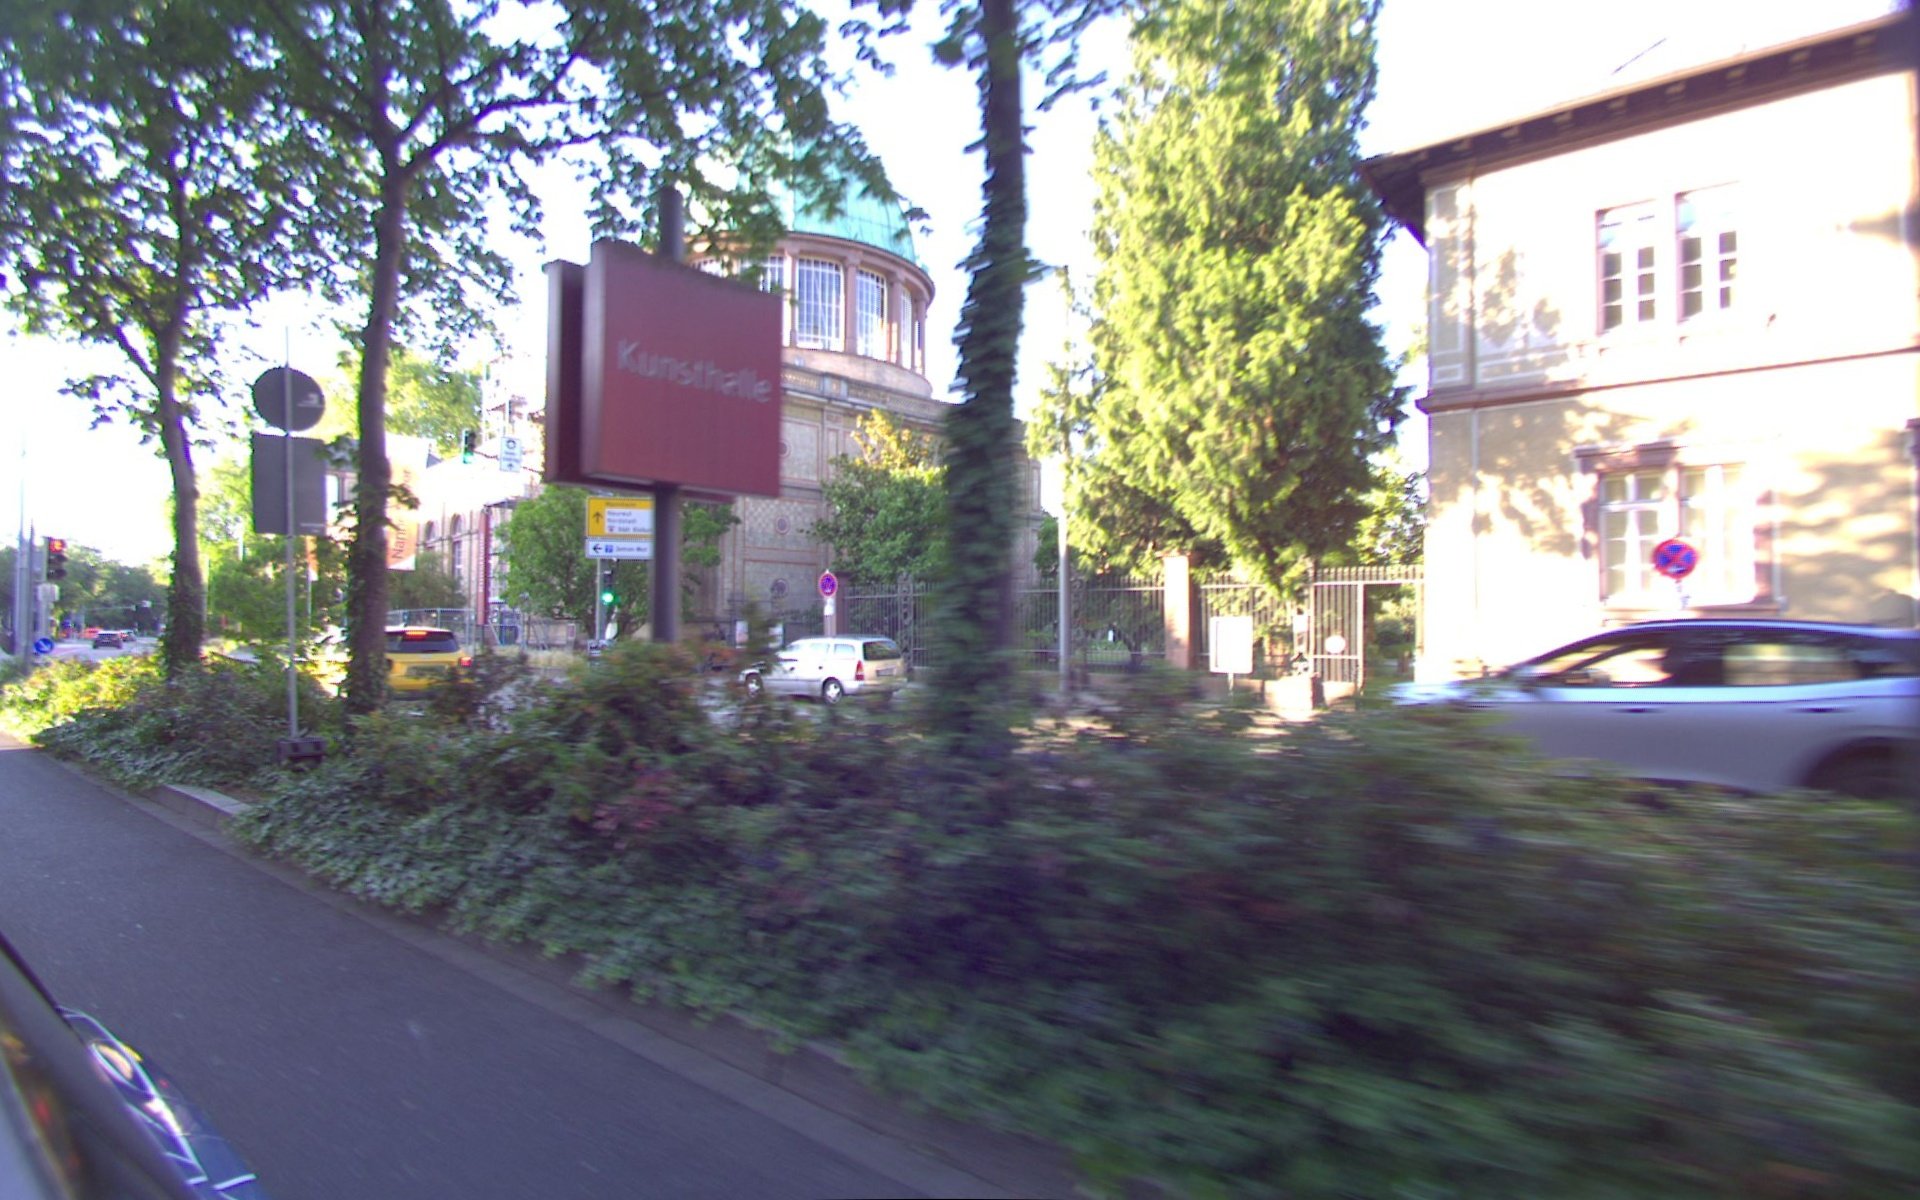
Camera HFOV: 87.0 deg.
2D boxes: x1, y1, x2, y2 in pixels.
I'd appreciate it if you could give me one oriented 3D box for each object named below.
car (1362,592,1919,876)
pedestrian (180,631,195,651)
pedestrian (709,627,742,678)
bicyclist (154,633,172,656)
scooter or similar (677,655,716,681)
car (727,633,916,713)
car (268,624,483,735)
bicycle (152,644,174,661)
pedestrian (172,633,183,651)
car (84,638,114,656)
[{"bbox_3d":[5.591,0.870,7.443,4.558,1.687,1.821,-2,-4,45],"label":"car"},{"bbox_3d":[-67.117,3.560,87.930,0.795,1.751,0.852,0,-2,-17],"label":"pedestrian"},{"bbox_3d":[-7.394,1.638,31.923,0.762,1.591,0.727,-2,-3,42],"label":"pedestrian"},{"bbox_3d":[-52.089,2.928,66.141,0.937,1.471,0.739,-2,-5,42],"label":"bicyclist"},{"bbox_3d":[-8.063,2.073,30.958,1.028,0.783,0.670,-2,-3,41],"label":"scooter or similar"},{"bbox_3d":[-3.180,1.550,22.675,4.366,1.559,1.727,-1,-1,40],"label":"car"},{"bbox_3d":[-9.492,1.202,16.306,4.118,1.559,1.825,-2,-3,42],"label":"car"},{"bbox_3d":[-52.069,3.433,66.101,1.932,1.099,0.745,-2,-5,42],"label":"bicycle"},{"bbox_3d":[-67.703,3.641,87.533,0.665,1.524,0.837,-3,-1,-41],"label":"pedestrian"},{"bbox_3d":[-72.323,3.944,85.013,1.800,1.519,4.434,2,-3,-39],"label":"car"}]
